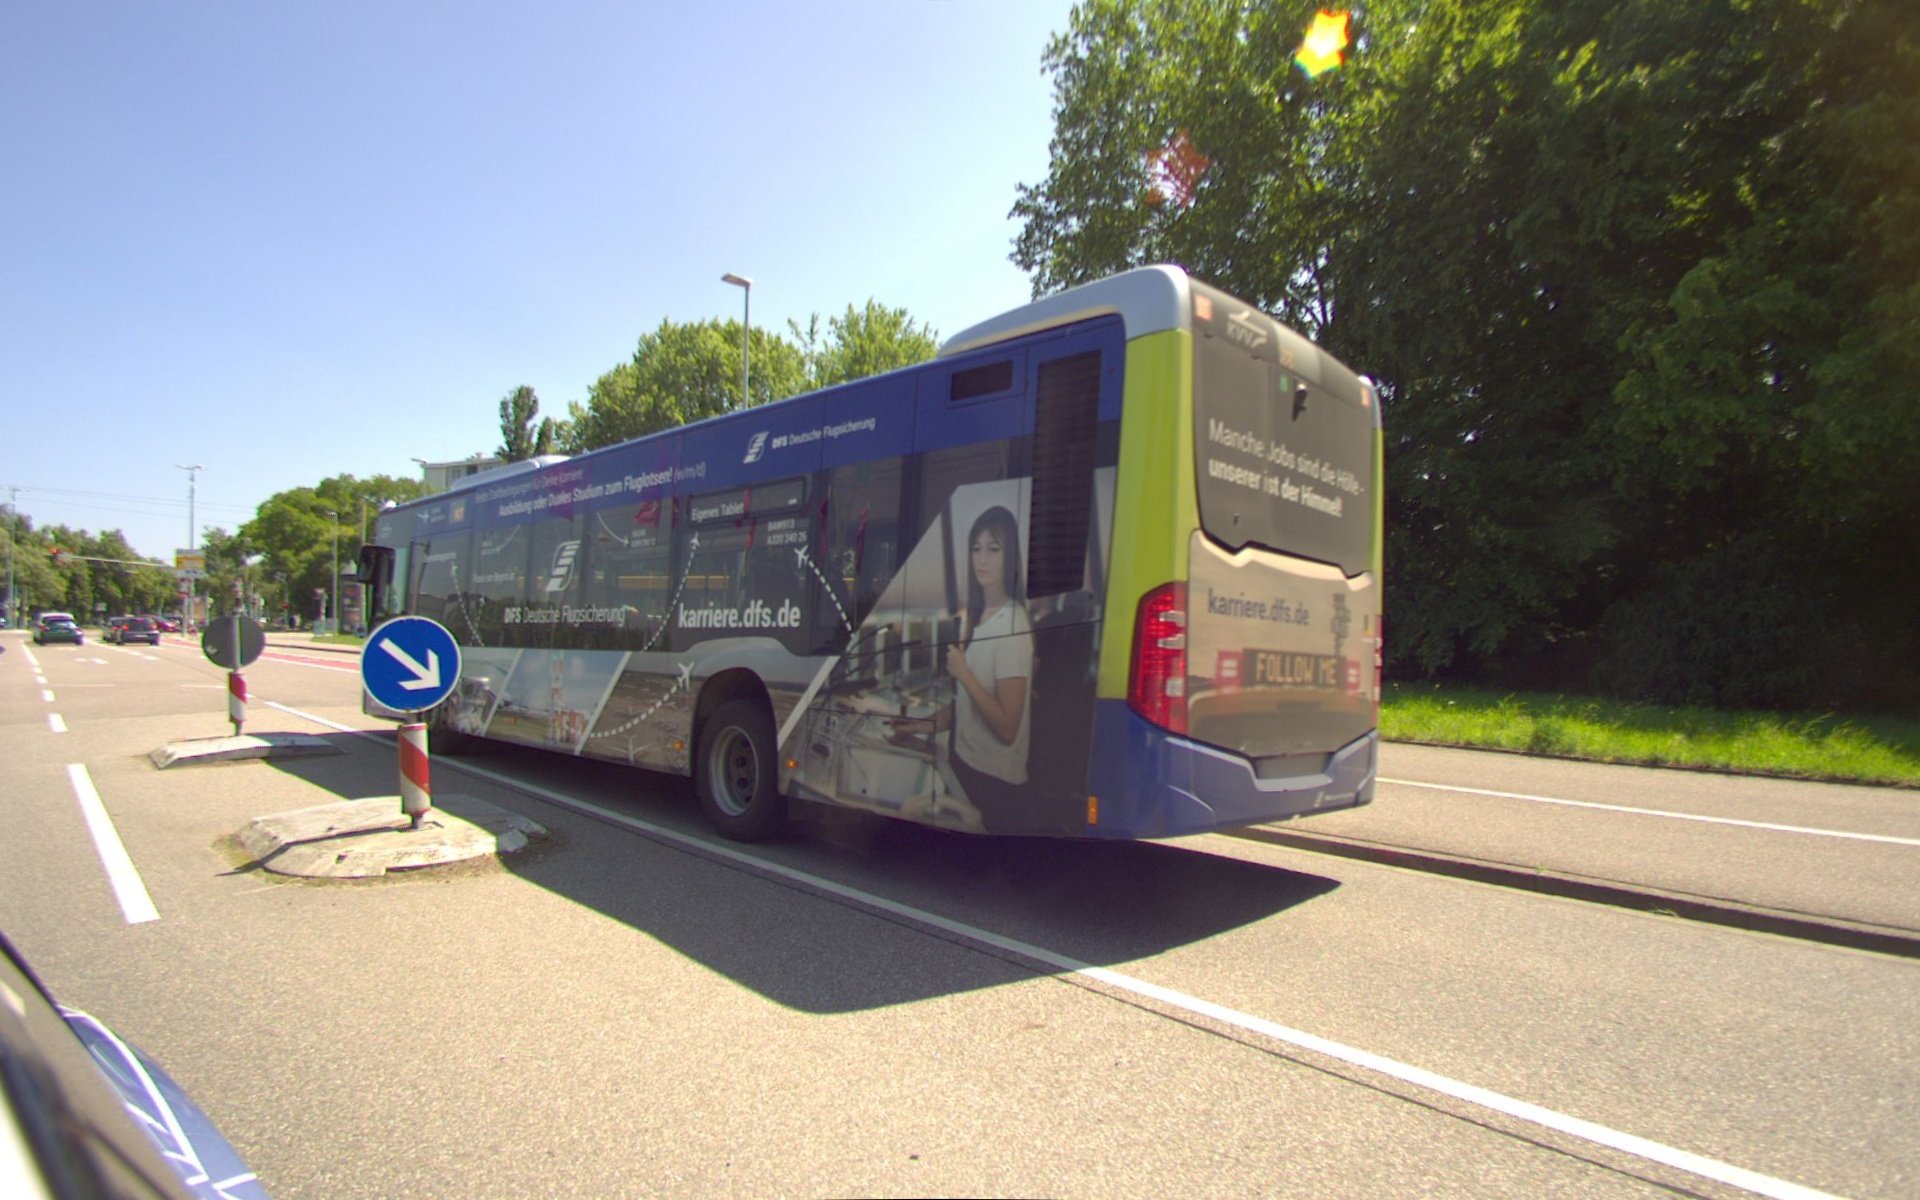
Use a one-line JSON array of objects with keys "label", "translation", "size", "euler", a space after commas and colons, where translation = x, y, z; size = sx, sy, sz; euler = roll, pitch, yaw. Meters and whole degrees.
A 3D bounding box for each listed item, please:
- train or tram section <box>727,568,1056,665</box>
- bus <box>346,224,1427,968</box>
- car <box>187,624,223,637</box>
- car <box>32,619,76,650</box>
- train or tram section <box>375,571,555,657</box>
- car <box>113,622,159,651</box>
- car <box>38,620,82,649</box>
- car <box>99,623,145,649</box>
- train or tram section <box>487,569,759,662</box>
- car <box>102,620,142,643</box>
[{"label": "train or tram section", "translation": [-2.961, 0.833, 44.064], "size": [13.818, 3.788, 3.033], "euler": [1, -3, -11]}, {"label": "bus", "translation": [-2.361, 0.138, 9.345], "size": [11.943, 3.068, 2.718], "euler": [-1, -4, 45]}, {"label": "car", "translation": [-90.550, 3.633, 121.417], "size": [3.436, 1.439, 1.587], "euler": [1, -4, -39]}, {"label": "car", "translation": [-52.508, 1.986, 58.618], "size": [1.790, 1.736, 4.835], "euler": [1, -2, -43]}, {"label": "train or tram section", "translation": [-24.689, 0.820, 49.940], "size": [12.985, 3.788, 2.985], "euler": [-2, -4, 41]}, {"label": "car", "translation": [-43.685, 1.900, 53.618], "size": [1.603, 1.467, 3.505], "euler": [4, -3, -43]}, {"label": "car", "translation": [-47.500, 1.827, 53.397], "size": [1.702, 1.474, 3.994], "euler": [1, -2, -42]}, {"label": "car", "translation": [-49.405, 2.100, 59.635], "size": [1.739, 1.468, 4.288], "euler": [2, -3, -44]}, {"label": "train or tram section", "translation": [-14.793, 0.698, 44.458], "size": [11.508, 3.788, 3.011], "euler": [0, -3, 15]}, {"label": "car", "translation": [-55.342, 2.094, 66.778], "size": [1.769, 1.467, 4.417], "euler": [3, -3, -43]}]
